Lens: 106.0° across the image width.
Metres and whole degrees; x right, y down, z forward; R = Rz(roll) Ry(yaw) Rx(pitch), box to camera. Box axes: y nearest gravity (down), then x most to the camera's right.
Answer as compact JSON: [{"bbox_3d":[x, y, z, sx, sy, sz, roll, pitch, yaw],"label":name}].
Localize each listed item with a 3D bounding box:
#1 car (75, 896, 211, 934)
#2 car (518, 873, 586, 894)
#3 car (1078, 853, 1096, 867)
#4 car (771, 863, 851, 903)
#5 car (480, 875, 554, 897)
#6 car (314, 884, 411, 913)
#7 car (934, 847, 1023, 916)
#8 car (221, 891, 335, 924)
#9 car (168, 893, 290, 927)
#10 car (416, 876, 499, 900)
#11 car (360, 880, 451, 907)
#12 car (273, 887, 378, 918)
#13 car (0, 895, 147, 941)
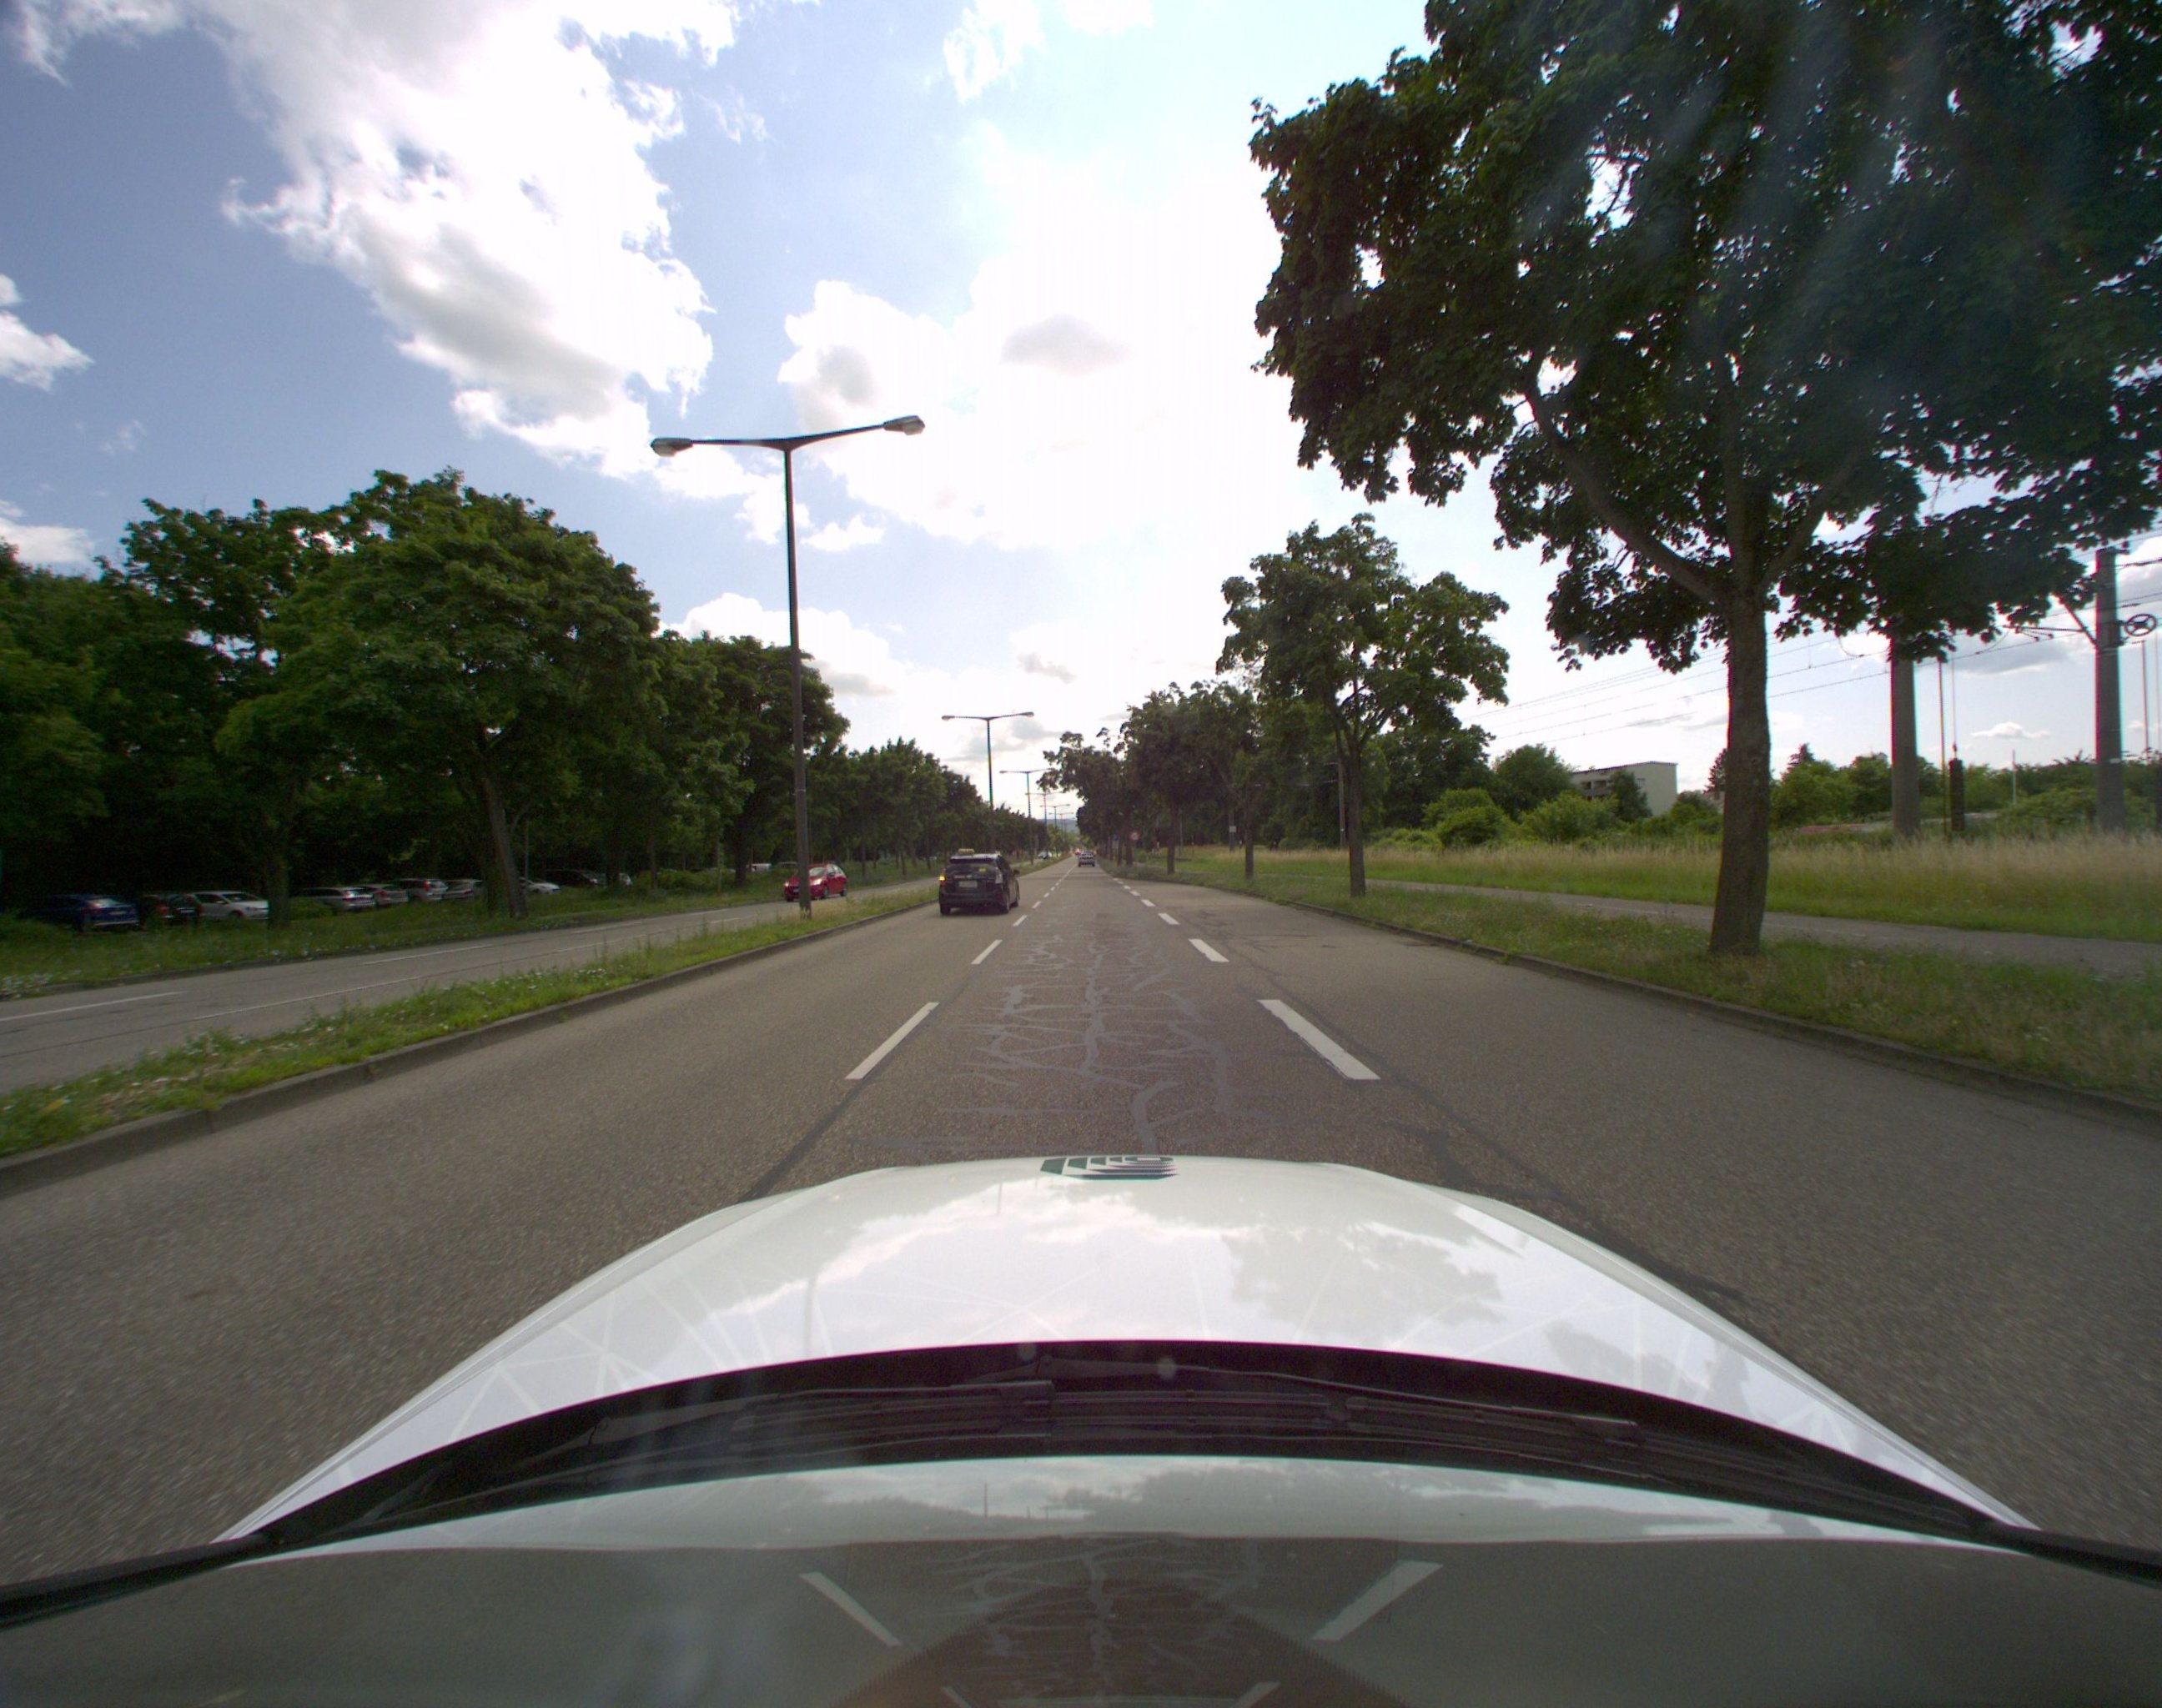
[{"bbox_3d":[-38.893,2.520,33.820,3.767,1.387,1.788,-1,0,5],"label":"car"},{"bbox_3d":[-38.129,2.132,58.752,3.767,1.387,1.788,-1,0,5],"label":"car"},{"bbox_3d":[0.693,0.715,97.213,1.987,1.508,3.999,-1,0,0],"label":"car"},{"bbox_3d":[-11.569,1.204,35.170,1.870,1.508,3.803,-1,0,5],"label":"car"},{"bbox_3d":[-37.915,2.140,54.771,3.767,1.387,1.788,-1,0,5],"label":"car"},{"bbox_3d":[-38.571,2.374,43.743,3.765,1.387,1.789,-1,0,6],"label":"car"},{"bbox_3d":[-2.691,0.661,22.196,1.773,1.684,4.002,-1,0,2],"label":"car"},{"bbox_3d":[-38.268,2.534,38.857,3.767,1.387,1.788,-1,0,5],"label":"car"},{"bbox_3d":[-38.183,2.488,36.545,3.767,1.387,1.788,-1,0,5],"label":"car"},{"bbox_3d":[-38.343,2.076,50.139,3.767,1.387,1.788,-1,0,5],"label":"car"},{"bbox_3d":[-38.478,2.230,46.437,3.767,1.387,1.788,-1,0,5],"label":"car"},{"bbox_3d":[-38.068,2.436,41.096,3.767,1.387,1.788,-1,0,5],"label":"car"},{"bbox_3d":[-38.430,2.427,31.048,3.767,1.568,1.788,-1,0,5],"label":"car"}]
